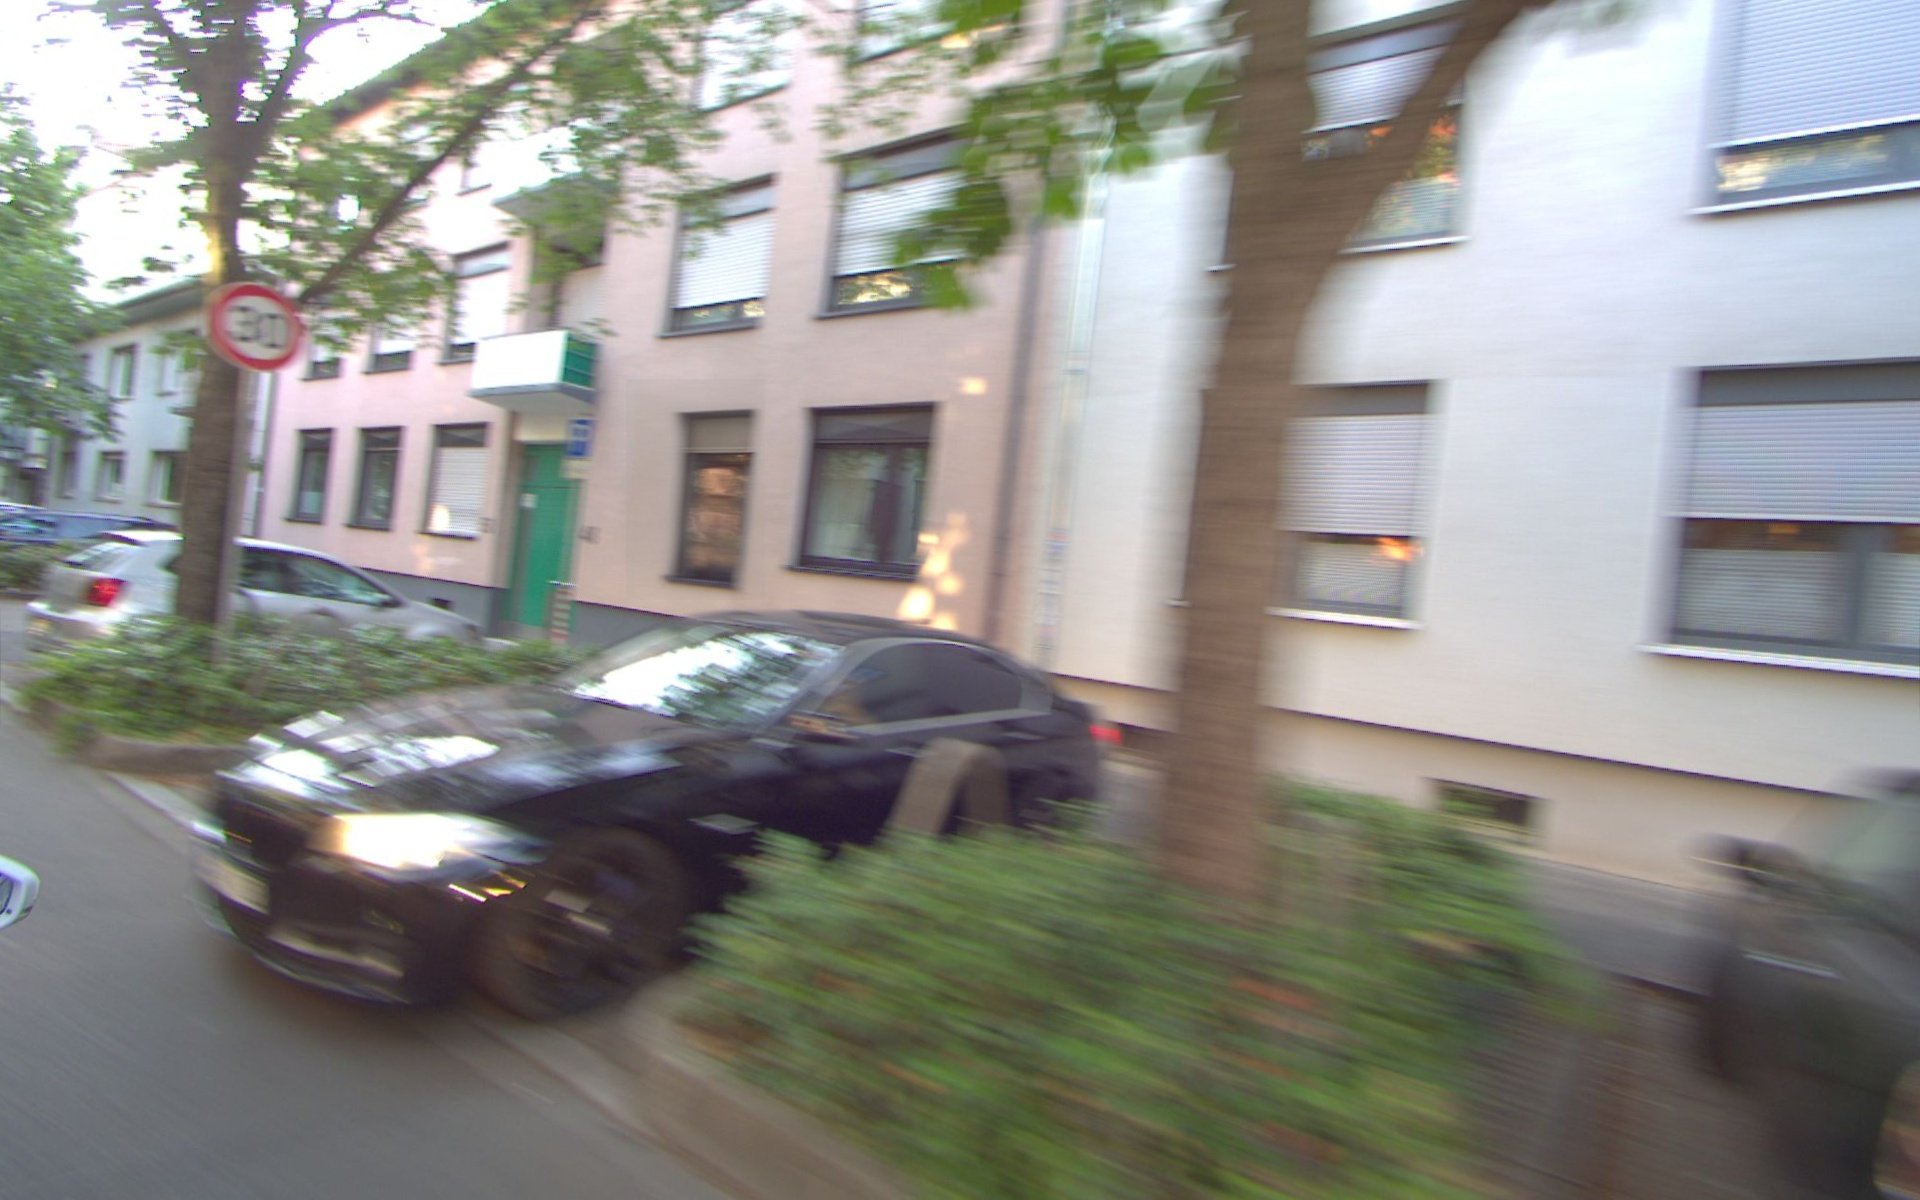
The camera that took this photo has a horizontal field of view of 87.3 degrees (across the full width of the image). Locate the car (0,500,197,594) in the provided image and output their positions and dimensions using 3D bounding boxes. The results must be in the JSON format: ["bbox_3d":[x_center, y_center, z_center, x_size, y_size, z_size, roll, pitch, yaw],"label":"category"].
[{"bbox_3d":[-17.512,-1.087,18.775,2.012,1.466,4.833,6,0,39],"label":"car"}]

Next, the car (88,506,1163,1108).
[{"bbox_3d":[-0.989,0.719,5.148,1.958,1.514,4.876,6,-2,37],"label":"car"}]

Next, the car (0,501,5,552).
[{"bbox_3d":[-29.553,-2.277,27.783,1.983,1.445,4.449,6,1,41],"label":"car"}]

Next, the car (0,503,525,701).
[{"bbox_3d":[-6.909,0.141,10.311,1.769,1.508,4.086,6,-2,34],"label":"car"}]

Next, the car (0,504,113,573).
[{"bbox_3d":[-22.442,-1.539,22.789,1.971,1.406,4.671,6,1,38],"label":"car"}]

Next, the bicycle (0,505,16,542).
[{"bbox_3d":[-34.004,-2.757,35.289,3.349,1.178,0.620,6,-1,36],"label":"bicycle"}]

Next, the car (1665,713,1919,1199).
[{"bbox_3d":[3.164,1.189,2.766,1.685,1.428,3.839,6,-1,32],"label":"car"}]

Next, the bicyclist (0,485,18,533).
[{"bbox_3d":[-34.161,-3.279,35.569,1.119,1.624,0.970,7,0,38],"label":"bicyclist"}]
